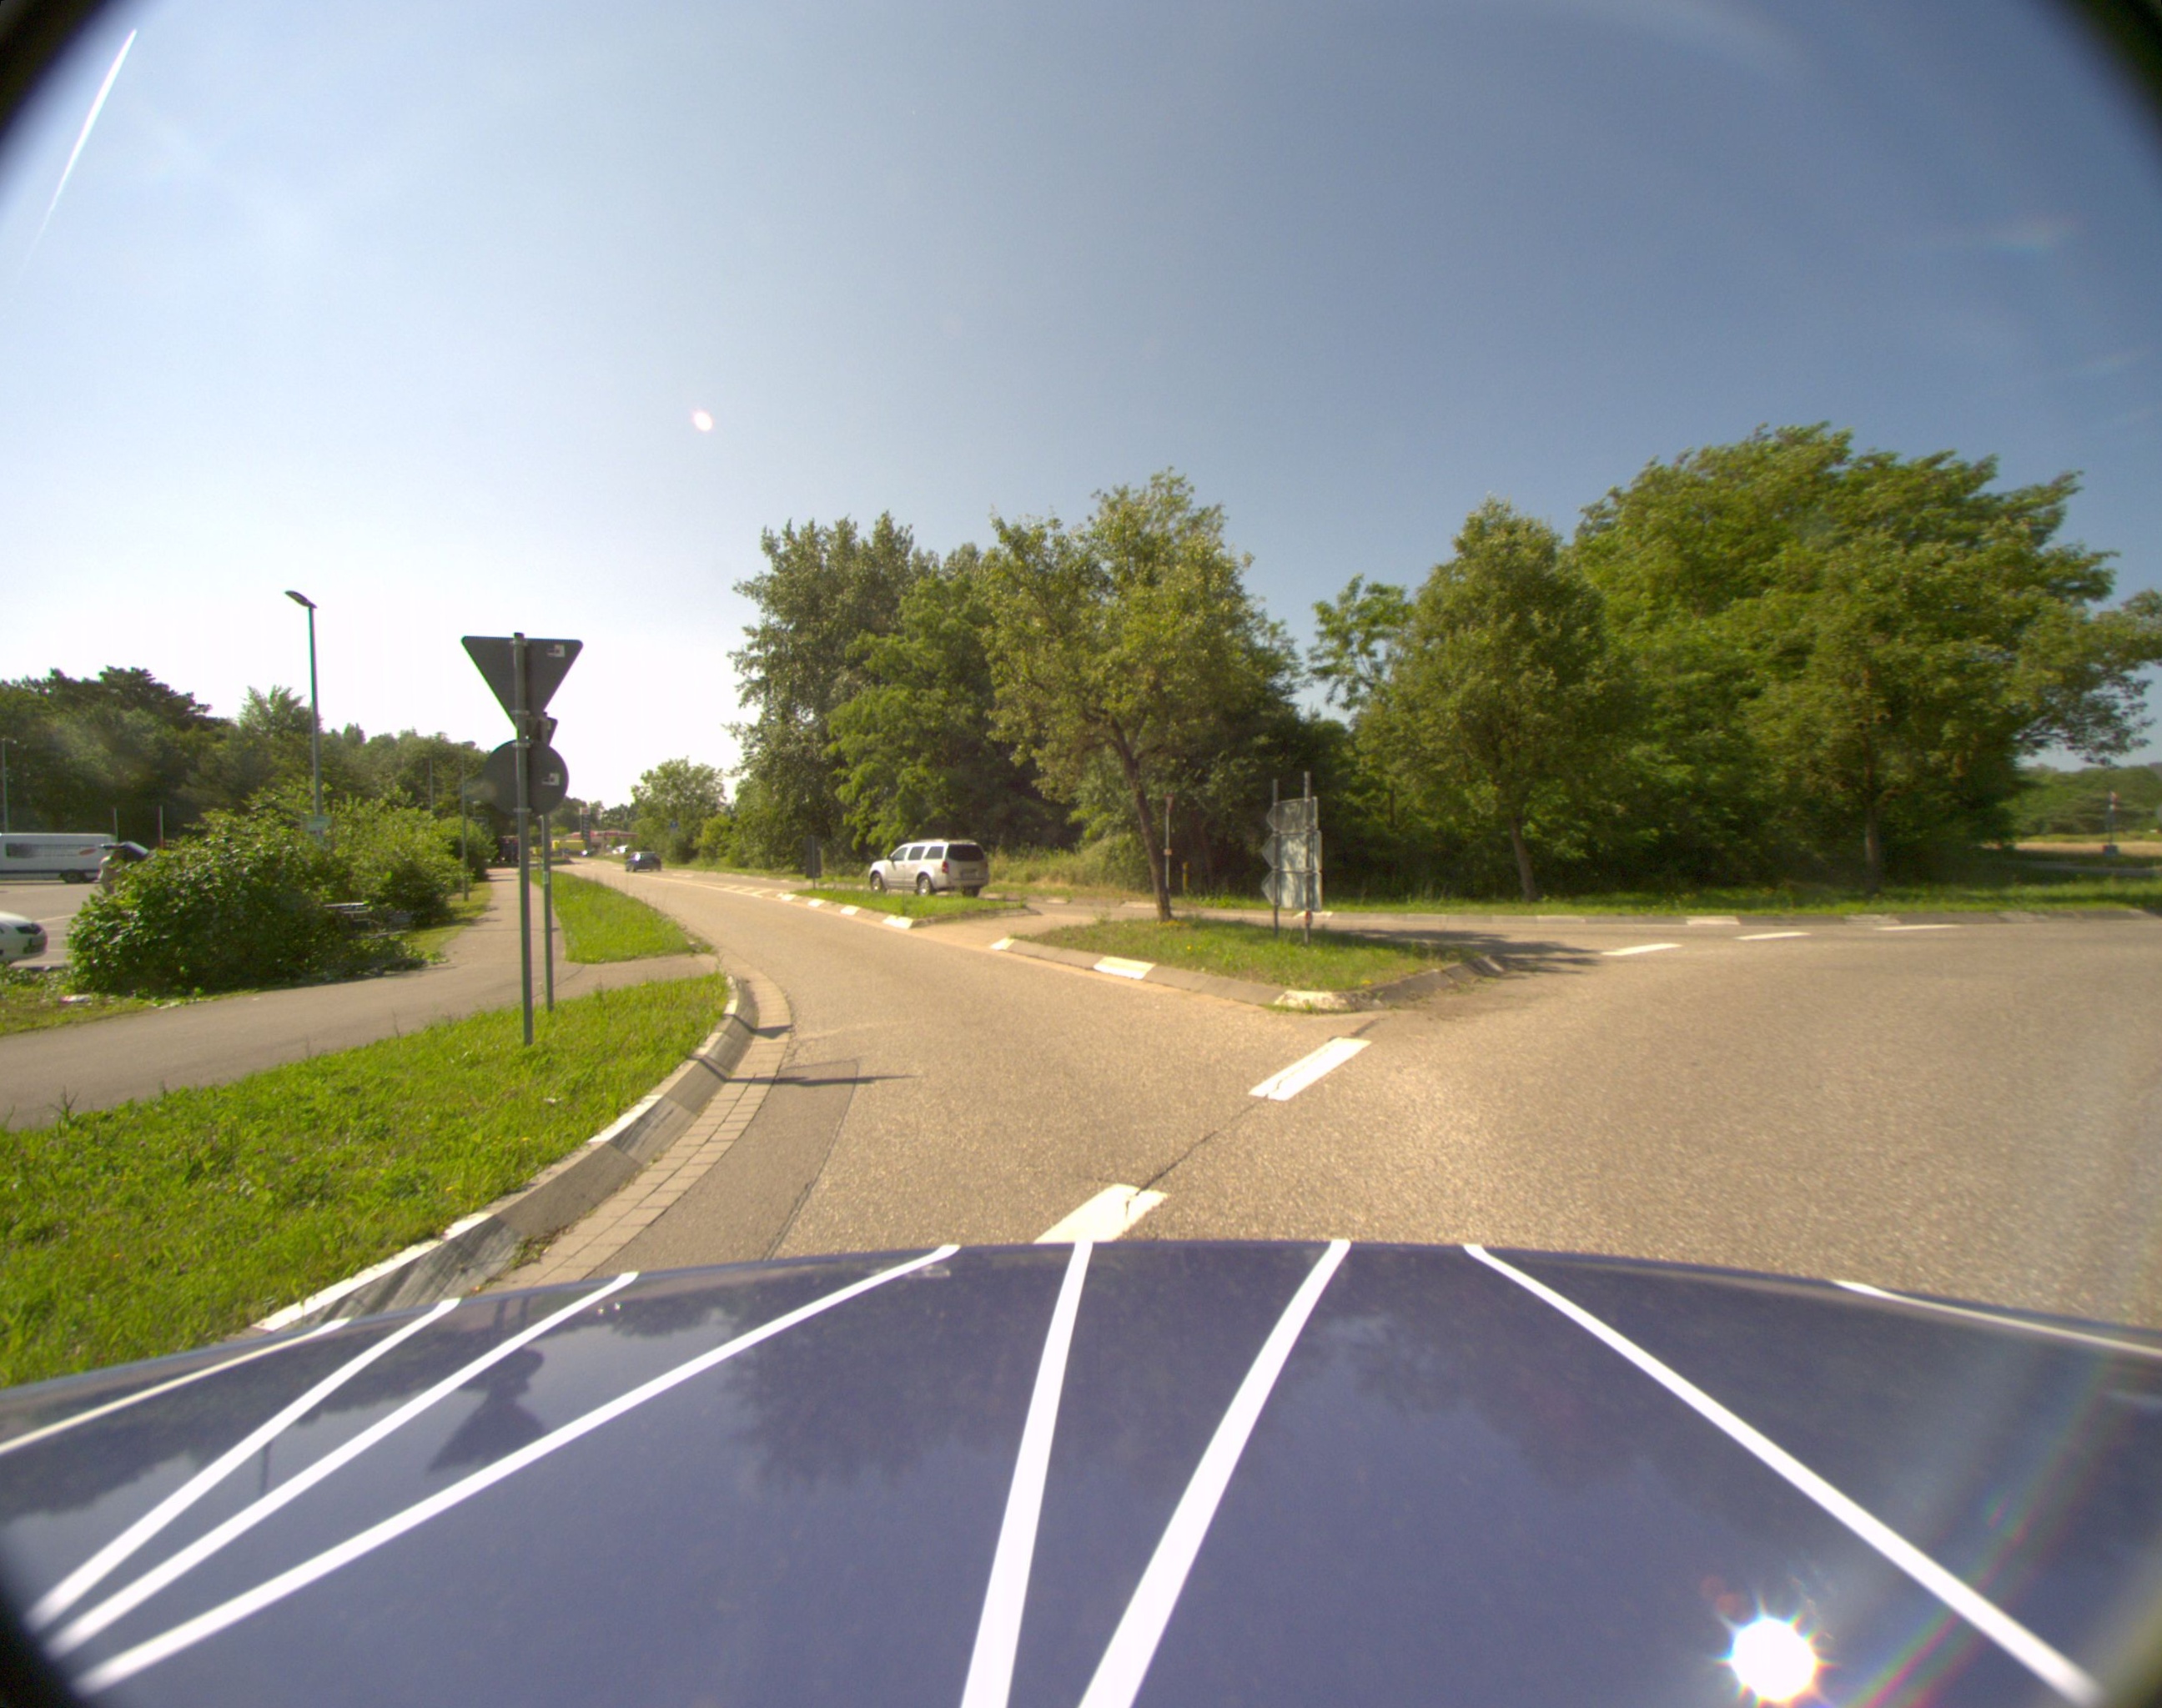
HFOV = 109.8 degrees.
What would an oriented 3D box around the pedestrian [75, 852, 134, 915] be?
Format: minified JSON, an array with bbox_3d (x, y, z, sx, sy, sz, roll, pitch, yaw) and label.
[{"bbox_3d":[-28.971,0.855,22.566,0.823,1.787,0.864,-2,2,-37],"label":"pedestrian"}]

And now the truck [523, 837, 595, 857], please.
[{"bbox_3d":[-94.470,-1.309,137.570,10.360,3.374,3.873,-1,1,-41],"label":"truck"}]

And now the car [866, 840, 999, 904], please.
[{"bbox_3d":[-4.782,0.491,23.968,1.903,1.805,4.582,-2,1,-44],"label":"car"}]

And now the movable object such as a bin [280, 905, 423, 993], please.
[{"bbox_3d":[-11.088,1.407,11.632,0.871,1.114,1.453,-2,1,-10],"label":"movable object such as a bin"}]

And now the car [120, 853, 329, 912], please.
[{"bbox_3d":[-27.012,0.839,24.206,4.140,1.618,1.747,-2,1,-38],"label":"car"}]

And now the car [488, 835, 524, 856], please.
[{"bbox_3d":[-80.415,-1.222,106.250,5.136,2.795,2.682,0,2,39],"label":"car"}]

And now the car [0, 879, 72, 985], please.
[{"bbox_3d":[-18.275,1.217,11.244,3.612,1.553,1.809,0,1,-34],"label":"car"}]

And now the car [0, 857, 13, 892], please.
[{"bbox_3d":[-47.221,0.903,31.022,1.899,1.445,3.983,0,1,42],"label":"car"}]

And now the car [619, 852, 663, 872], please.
[{"bbox_3d":[-31.227,0.565,53.867,1.842,1.379,4.411,-1,0,-41],"label":"car"}]

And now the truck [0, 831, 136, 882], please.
[{"bbox_3d":[-53.761,0.103,39.361,5.628,2.590,2.197,-1,1,-39],"label":"truck"}]
